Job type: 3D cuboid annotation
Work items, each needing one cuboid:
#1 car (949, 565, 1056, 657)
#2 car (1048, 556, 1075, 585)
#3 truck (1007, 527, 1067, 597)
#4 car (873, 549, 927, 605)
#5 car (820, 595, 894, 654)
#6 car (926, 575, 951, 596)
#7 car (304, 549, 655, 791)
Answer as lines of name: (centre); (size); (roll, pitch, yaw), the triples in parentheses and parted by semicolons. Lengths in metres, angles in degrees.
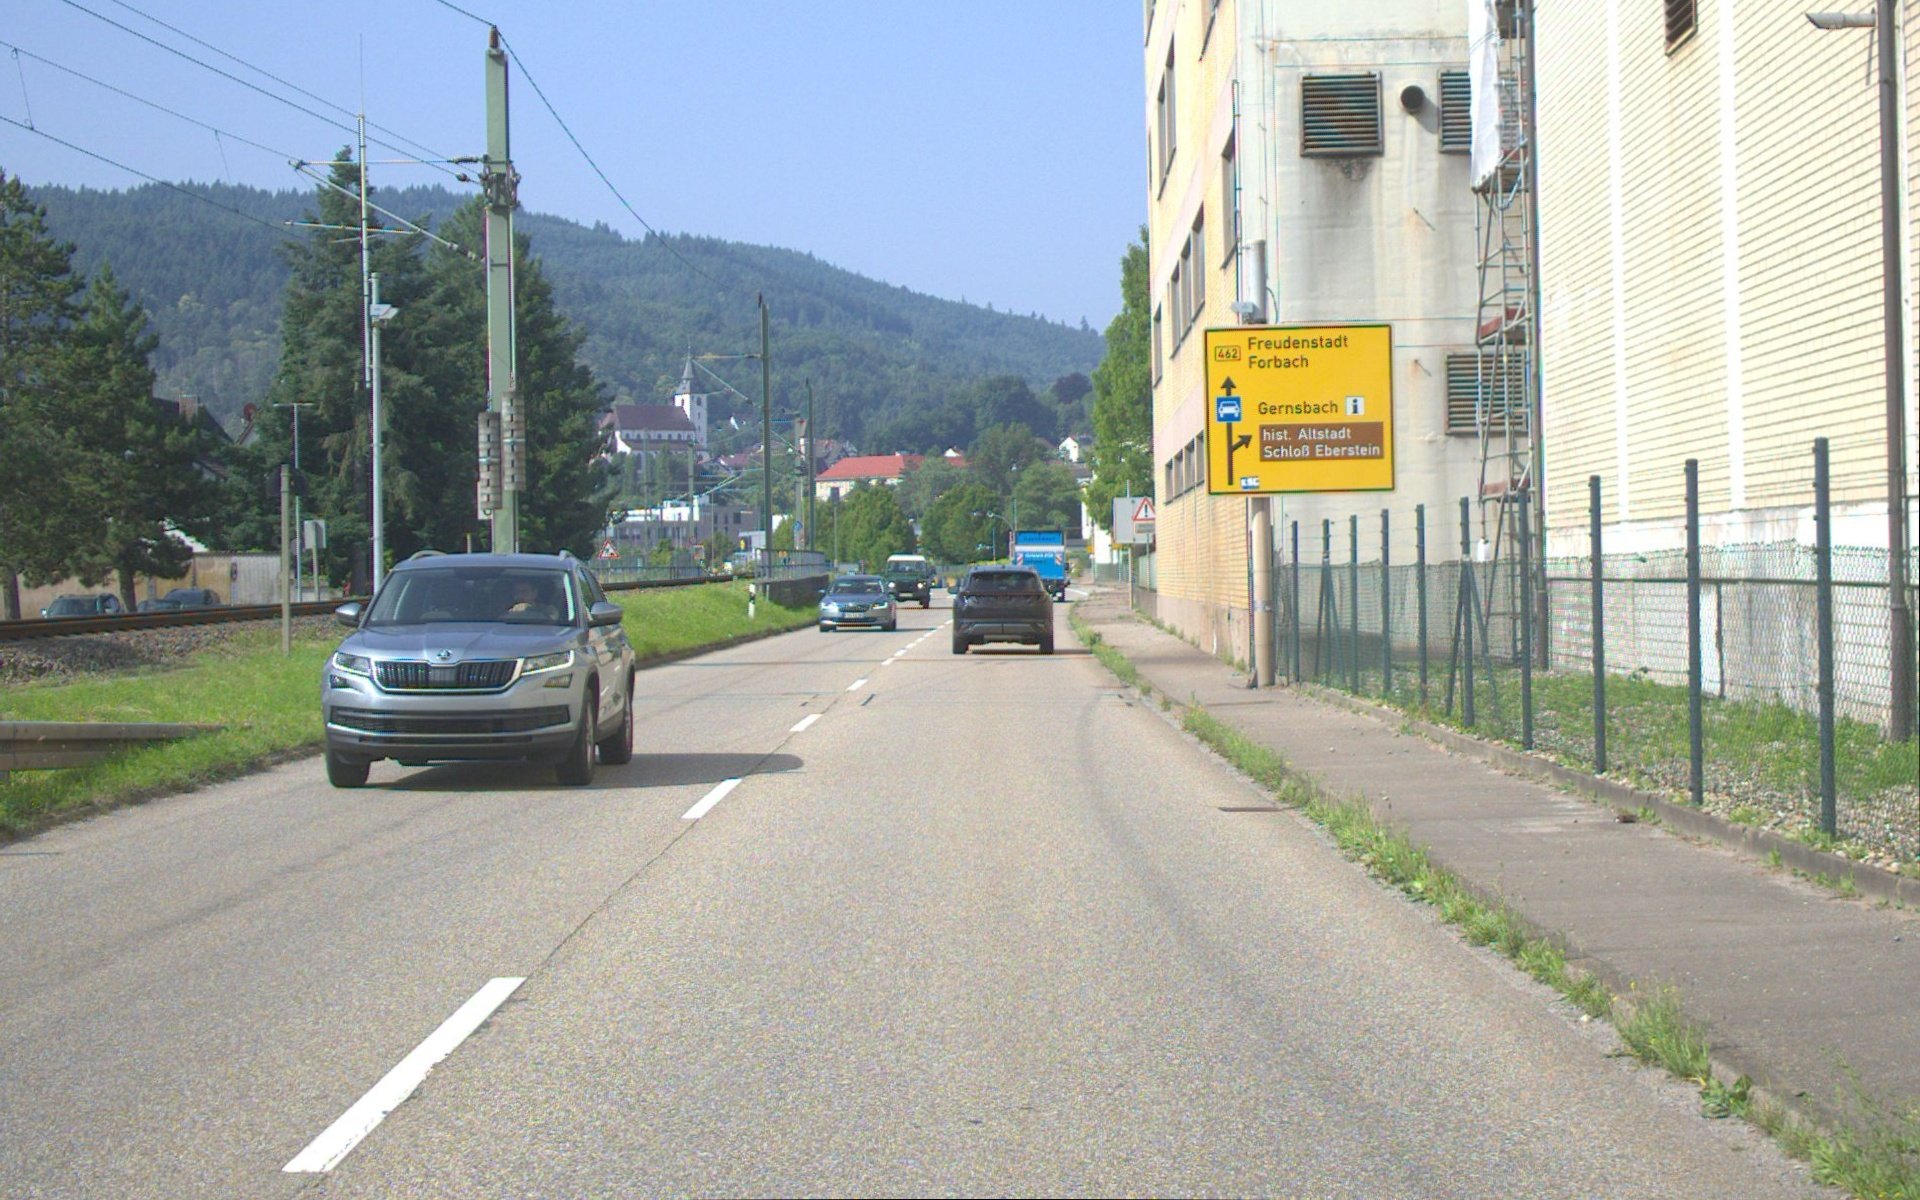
car: (0.835, 0.175, 64.443); (1.919, 1.634, 4.000); (-1, 1, 2)
car: (6.582, -1.933, 222.700); (1.667, 1.816, 3.751); (-1, 1, 2)
truck: (3.304, -1.663, 149.069); (2.312, 2.960, 5.966); (-1, 1, -1)
car: (-2.239, -0.896, 130.290); (1.758, 2.071, 4.807); (0, 1, 2)
car: (-2.641, 0.620, 88.730); (1.767, 1.400, 4.297); (-2, 1, 0)
car: (-1.518, -1.020, 240.812); (1.741, 1.502, 4.200); (0, 0, 0)
car: (-3.410, 0.461, 25.216); (1.906, 1.595, 4.570); (-1, 0, 0)
